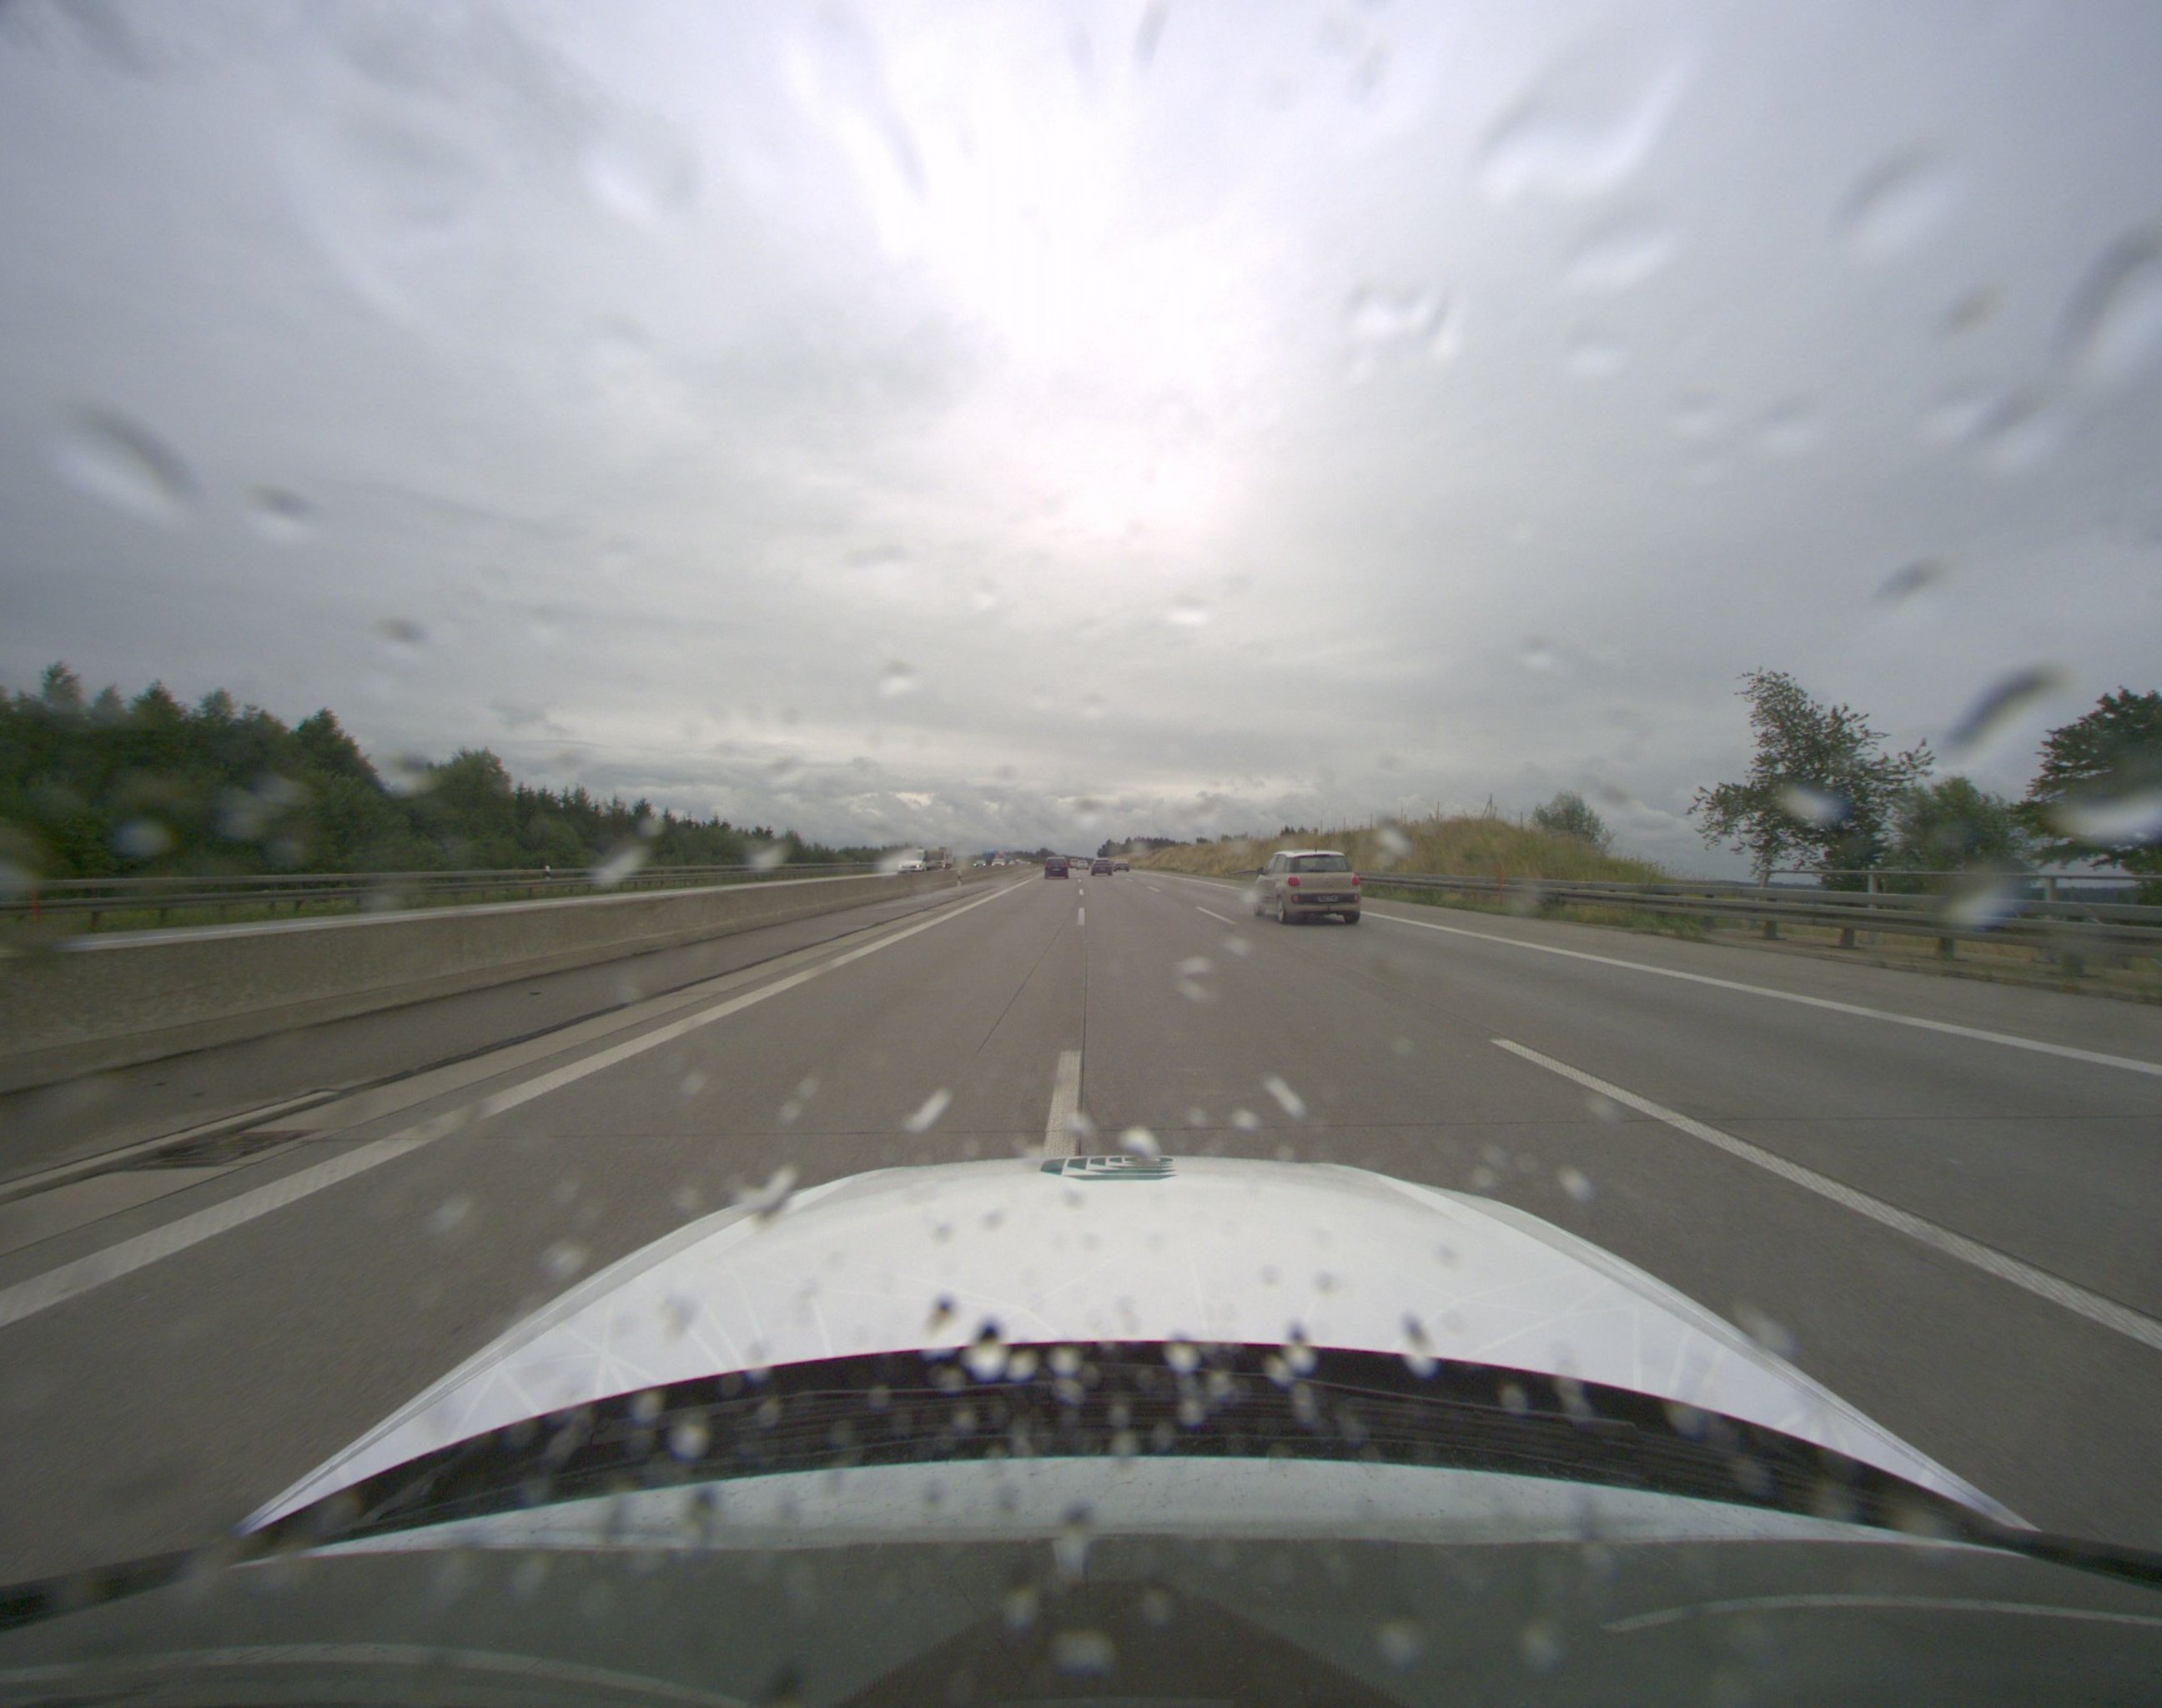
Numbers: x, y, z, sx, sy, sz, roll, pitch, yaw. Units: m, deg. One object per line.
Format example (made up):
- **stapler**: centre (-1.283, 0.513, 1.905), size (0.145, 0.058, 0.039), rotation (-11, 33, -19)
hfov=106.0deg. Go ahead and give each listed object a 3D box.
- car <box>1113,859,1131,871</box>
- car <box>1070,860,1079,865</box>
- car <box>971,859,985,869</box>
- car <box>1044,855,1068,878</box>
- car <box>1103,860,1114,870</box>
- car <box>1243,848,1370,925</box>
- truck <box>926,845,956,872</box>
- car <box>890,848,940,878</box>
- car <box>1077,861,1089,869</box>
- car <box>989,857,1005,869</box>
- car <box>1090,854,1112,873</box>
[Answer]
- **car**: centre (5.066, 1.323, 100.973), size (2.008, 1.446, 4.743), rotation (0, 0, 0)
- **car**: centre (-1.302, 1.823, 174.886), size (1.791, 1.221, 4.001), rotation (0, 0, 1)
- **car**: centre (-16.162, 1.522, 127.605), size (1.624, 1.566, 4.409), rotation (0, 0, 0)
- **car**: centre (-1.897, 0.930, 63.602), size (1.779, 1.747, 3.914), rotation (0, 0, 0)
- **car**: centre (4.375, 1.746, 132.209), size (1.482, 1.471, 3.501), rotation (2, -1, -2)
- **car**: centre (5.251, 0.705, 19.595), size (1.779, 1.605, 4.569), rotation (0, 0, 0)
- **truck**: centre (-20.101, 0.652, 117.492), size (2.890, 3.864, 8.896), rotation (0, 0, -1)
- **car**: centre (-13.921, 0.765, 68.879), size (2.612, 2.400, 7.516), rotation (0, 0, 1)
- **car**: centre (0.347, 1.688, 126.036), size (1.791, 1.123, 4.001), rotation (0, 0, 1)
- **car**: centre (-11.938, 1.287, 116.283), size (1.737, 1.566, 4.498), rotation (0, 0, 0)
- **car**: centre (1.848, 0.839, 75.830), size (1.892, 1.690, 5.264), rotation (0, 0, -1)
